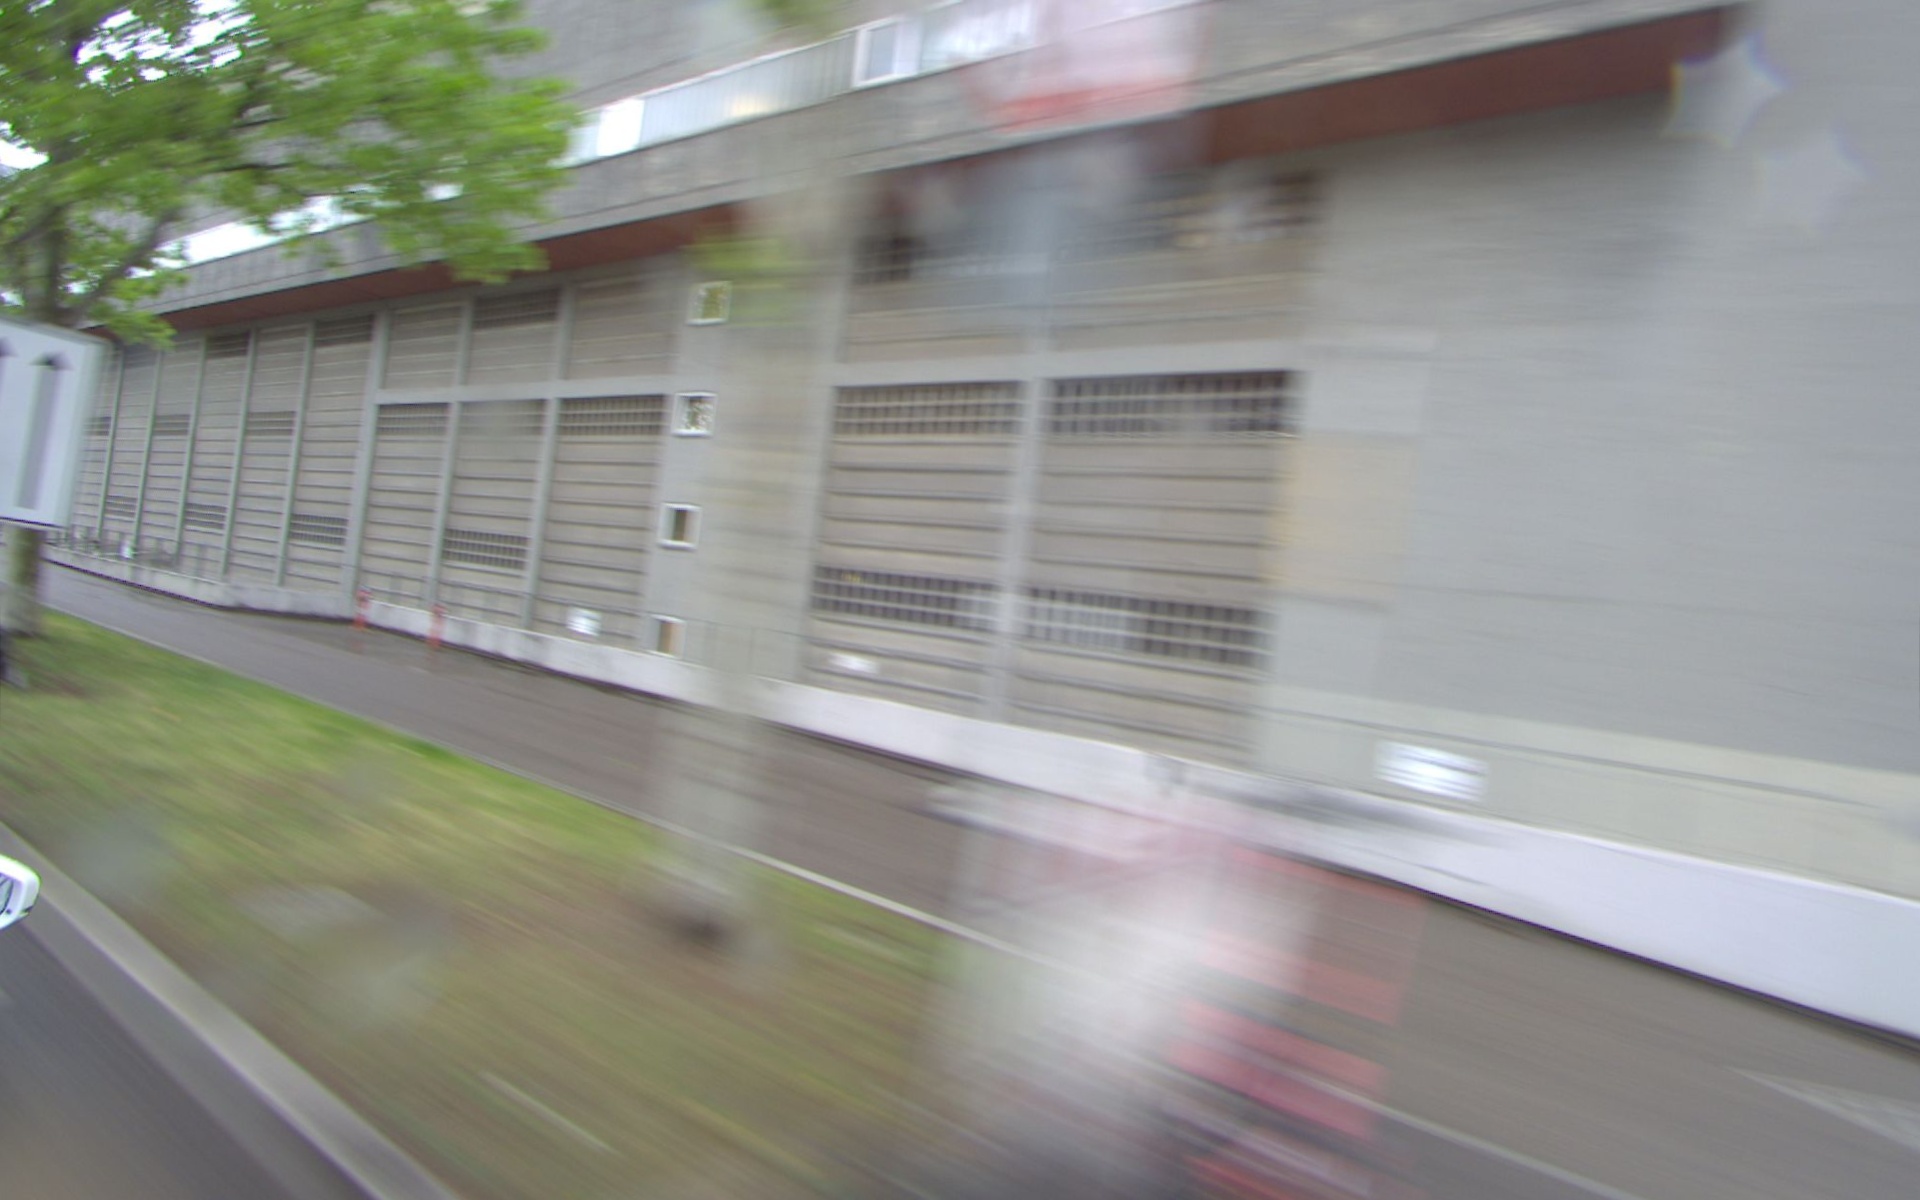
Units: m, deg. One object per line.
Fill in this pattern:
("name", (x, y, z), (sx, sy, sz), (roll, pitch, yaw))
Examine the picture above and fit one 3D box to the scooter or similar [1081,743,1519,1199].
("scooter or similar", (1.034, 1.148, 2.861), (0.611, 1.297, 1.357), (4, -7, 41))
